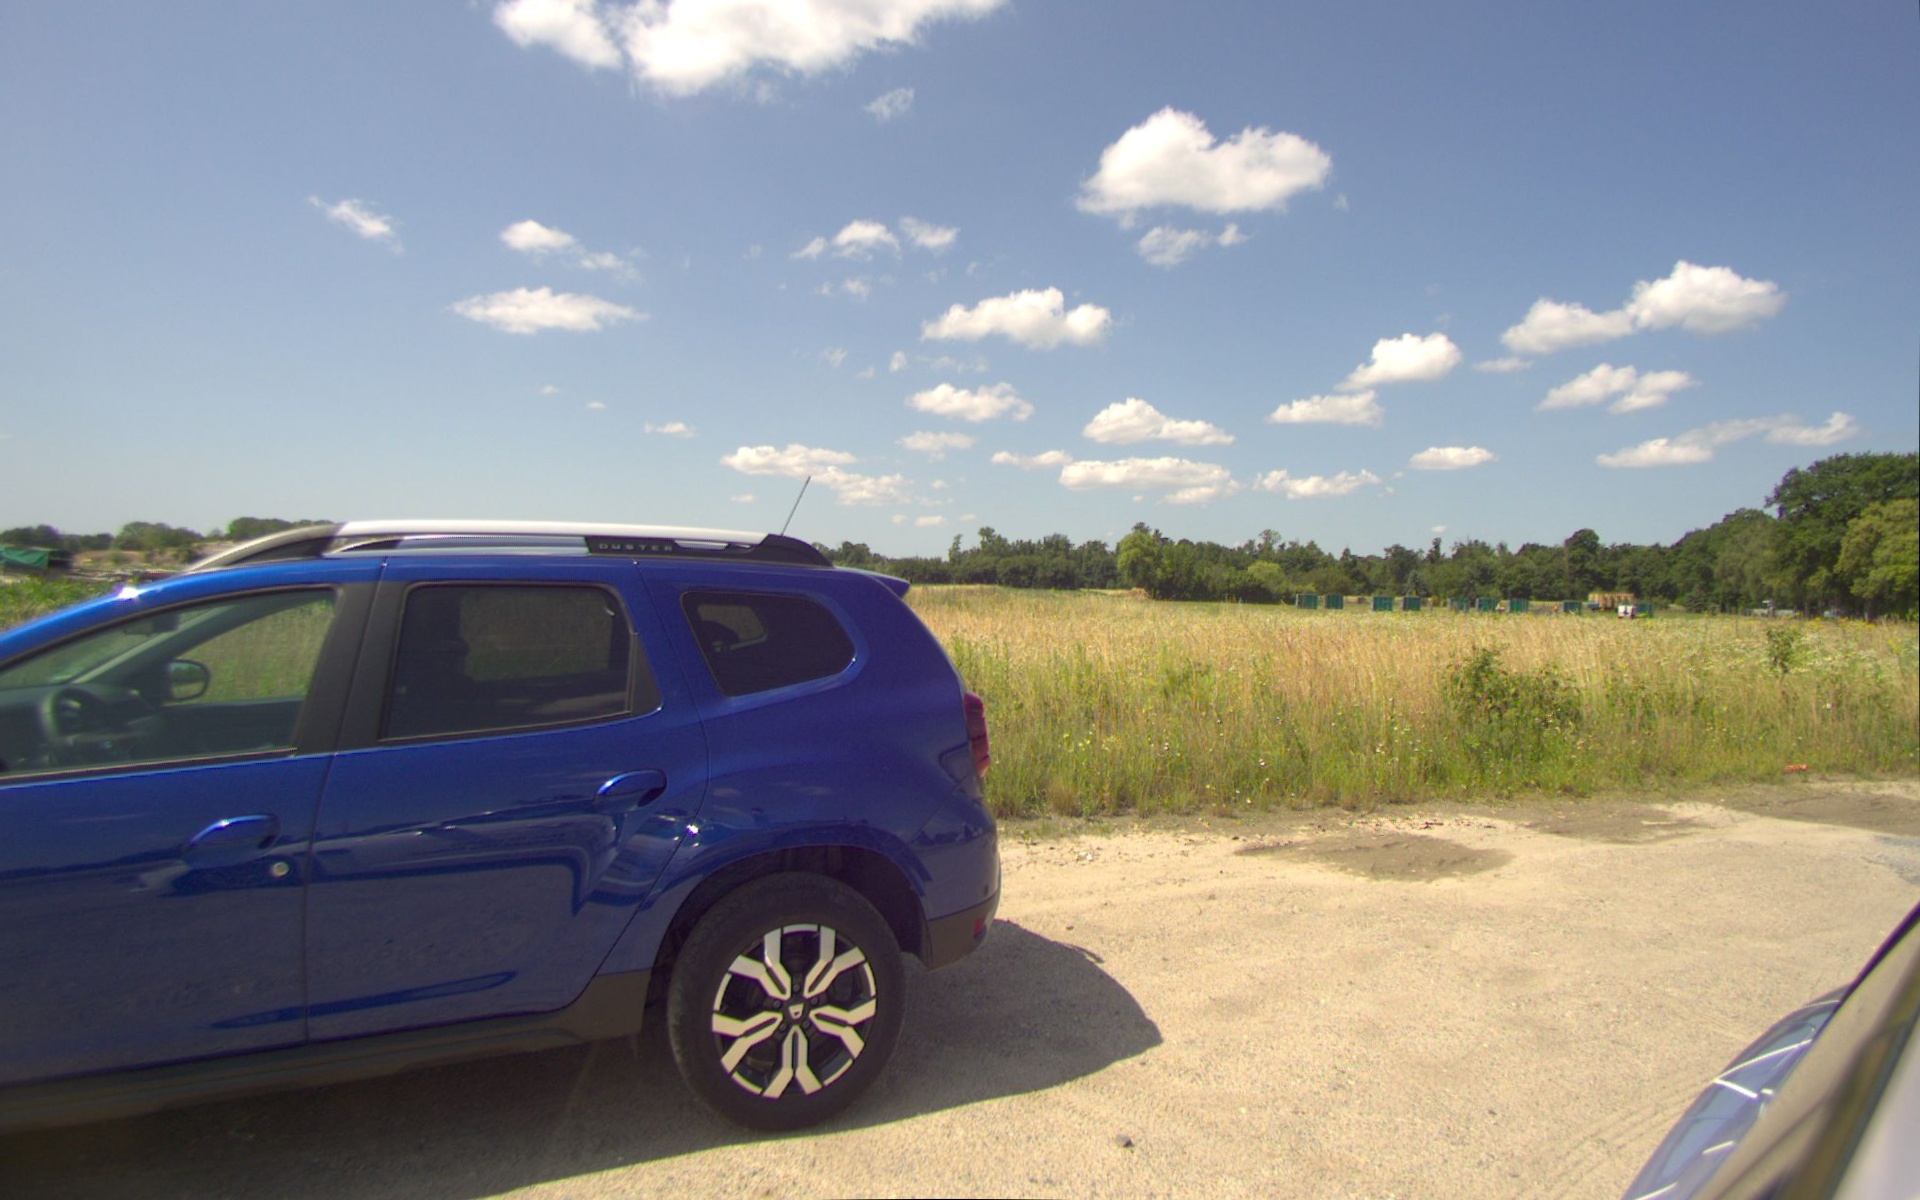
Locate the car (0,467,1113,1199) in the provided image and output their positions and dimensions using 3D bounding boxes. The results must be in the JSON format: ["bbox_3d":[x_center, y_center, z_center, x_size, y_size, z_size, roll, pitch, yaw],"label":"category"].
[{"bbox_3d":[-1.913,0.556,3.127,4.365,1.682,1.868,0,0,-21],"label":"car"}]
